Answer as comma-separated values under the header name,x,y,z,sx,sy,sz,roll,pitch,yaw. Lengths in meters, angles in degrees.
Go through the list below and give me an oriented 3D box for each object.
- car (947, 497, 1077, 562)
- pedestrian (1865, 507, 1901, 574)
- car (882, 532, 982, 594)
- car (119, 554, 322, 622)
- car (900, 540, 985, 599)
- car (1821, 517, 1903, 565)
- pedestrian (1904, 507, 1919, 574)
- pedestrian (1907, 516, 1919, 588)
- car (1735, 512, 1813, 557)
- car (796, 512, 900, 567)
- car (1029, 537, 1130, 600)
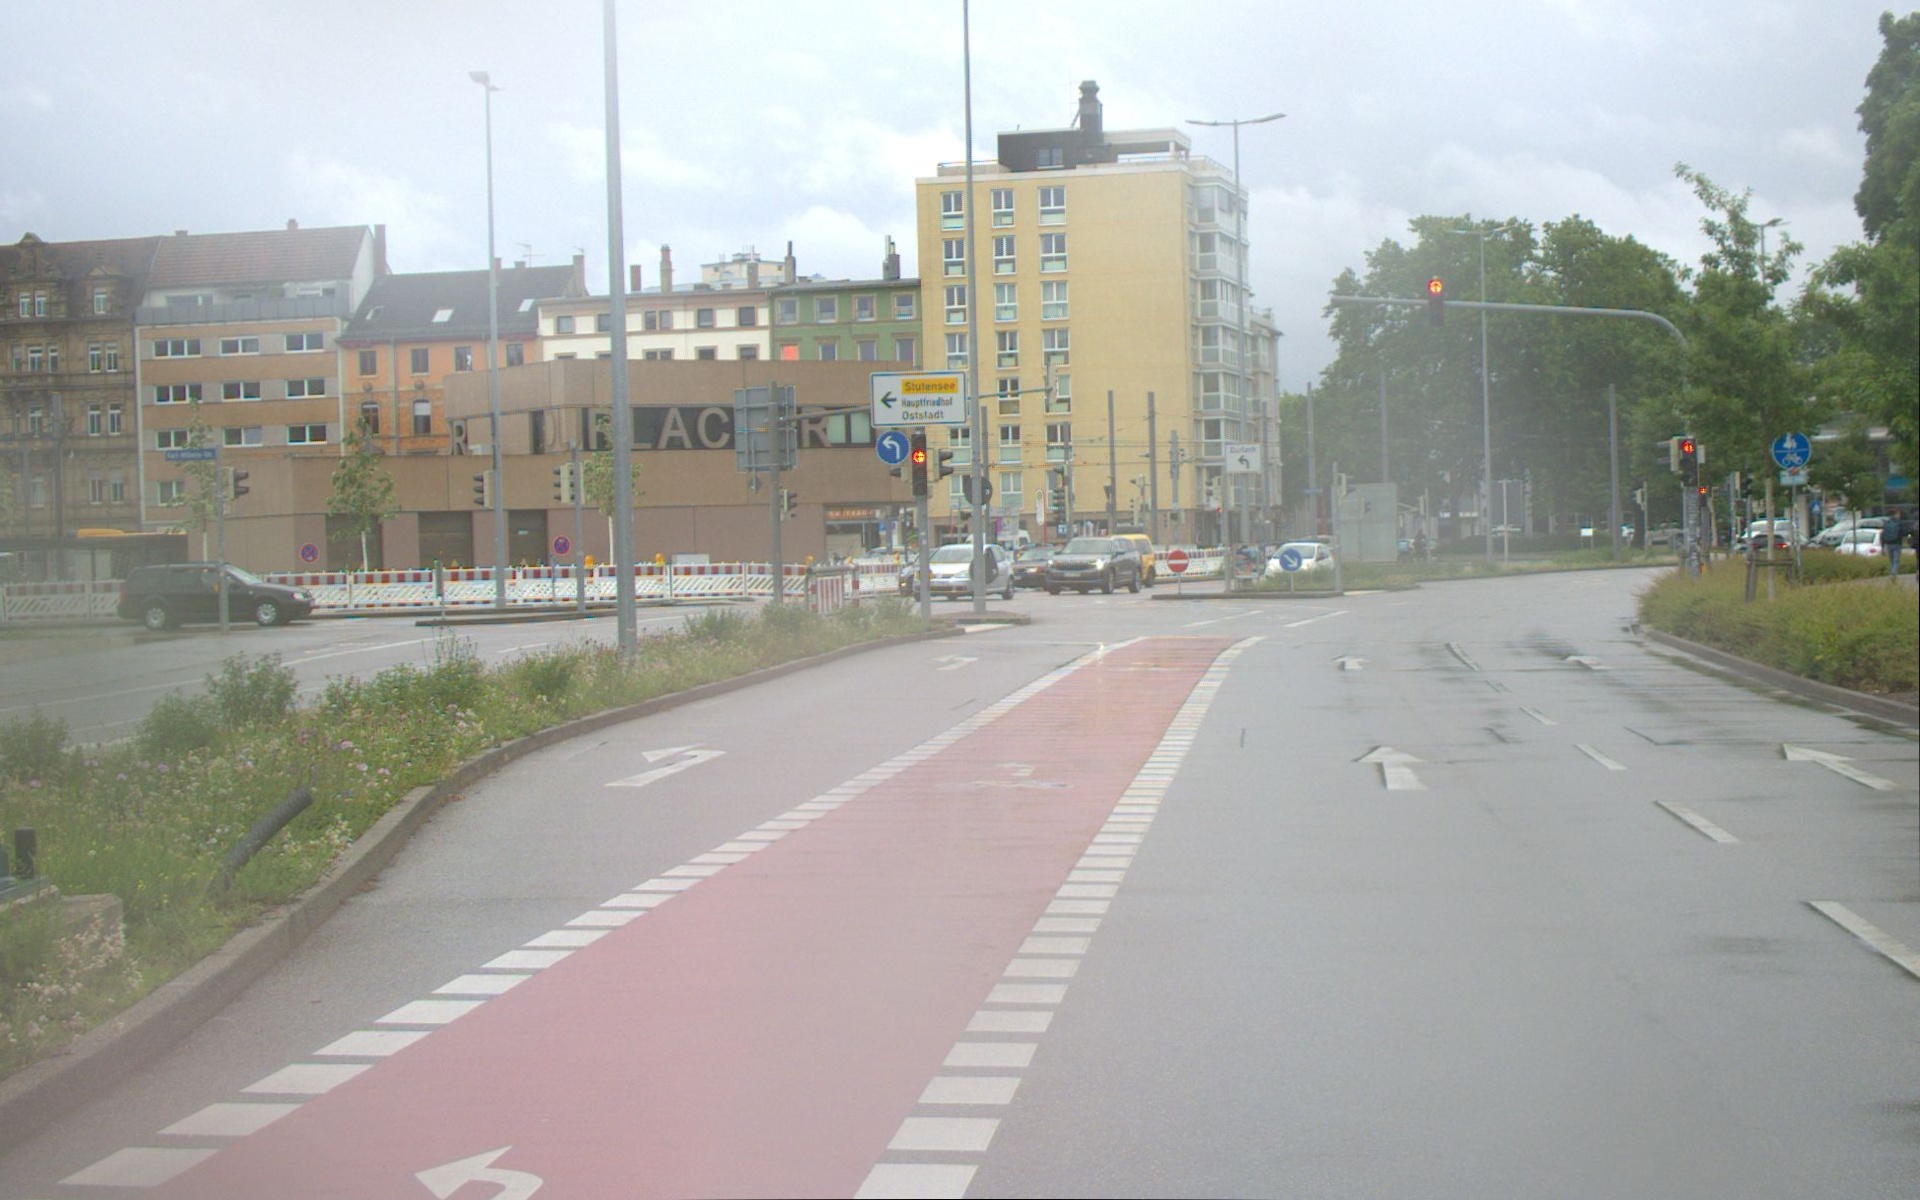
name,x,y,z,sx,sy,sz,roll,pitch,yaw
car,2.914,-3.897,190.548,6.744,3.368,2.808,-1,1,11
pedestrian,22.101,-1.432,82.303,0.754,1.582,0.936,-1,1,18
car,-0.785,-1.089,99.495,1.707,1.700,3.817,-1,1,18
car,-16.680,-0.273,77.621,4.191,1.397,1.618,-1,1,2
car,-0.422,-0.796,88.064,1.679,1.399,4.157,-2,1,6
car,32.240,-2.126,122.848,1.793,1.637,4.153,-1,1,29
pedestrian,22.863,-1.430,81.773,0.703,1.582,0.936,-1,1,18
pedestrian,21.607,-1.070,76.406,1.023,1.582,0.936,-1,1,18
car,31.133,-2.518,131.494,1.793,1.637,4.153,-1,1,29
car,-6.272,-3.390,192.537,5.353,2.877,2.338,-1,1,11
car,3.475,-0.931,99.175,1.995,1.630,4.600,-3,1,13
